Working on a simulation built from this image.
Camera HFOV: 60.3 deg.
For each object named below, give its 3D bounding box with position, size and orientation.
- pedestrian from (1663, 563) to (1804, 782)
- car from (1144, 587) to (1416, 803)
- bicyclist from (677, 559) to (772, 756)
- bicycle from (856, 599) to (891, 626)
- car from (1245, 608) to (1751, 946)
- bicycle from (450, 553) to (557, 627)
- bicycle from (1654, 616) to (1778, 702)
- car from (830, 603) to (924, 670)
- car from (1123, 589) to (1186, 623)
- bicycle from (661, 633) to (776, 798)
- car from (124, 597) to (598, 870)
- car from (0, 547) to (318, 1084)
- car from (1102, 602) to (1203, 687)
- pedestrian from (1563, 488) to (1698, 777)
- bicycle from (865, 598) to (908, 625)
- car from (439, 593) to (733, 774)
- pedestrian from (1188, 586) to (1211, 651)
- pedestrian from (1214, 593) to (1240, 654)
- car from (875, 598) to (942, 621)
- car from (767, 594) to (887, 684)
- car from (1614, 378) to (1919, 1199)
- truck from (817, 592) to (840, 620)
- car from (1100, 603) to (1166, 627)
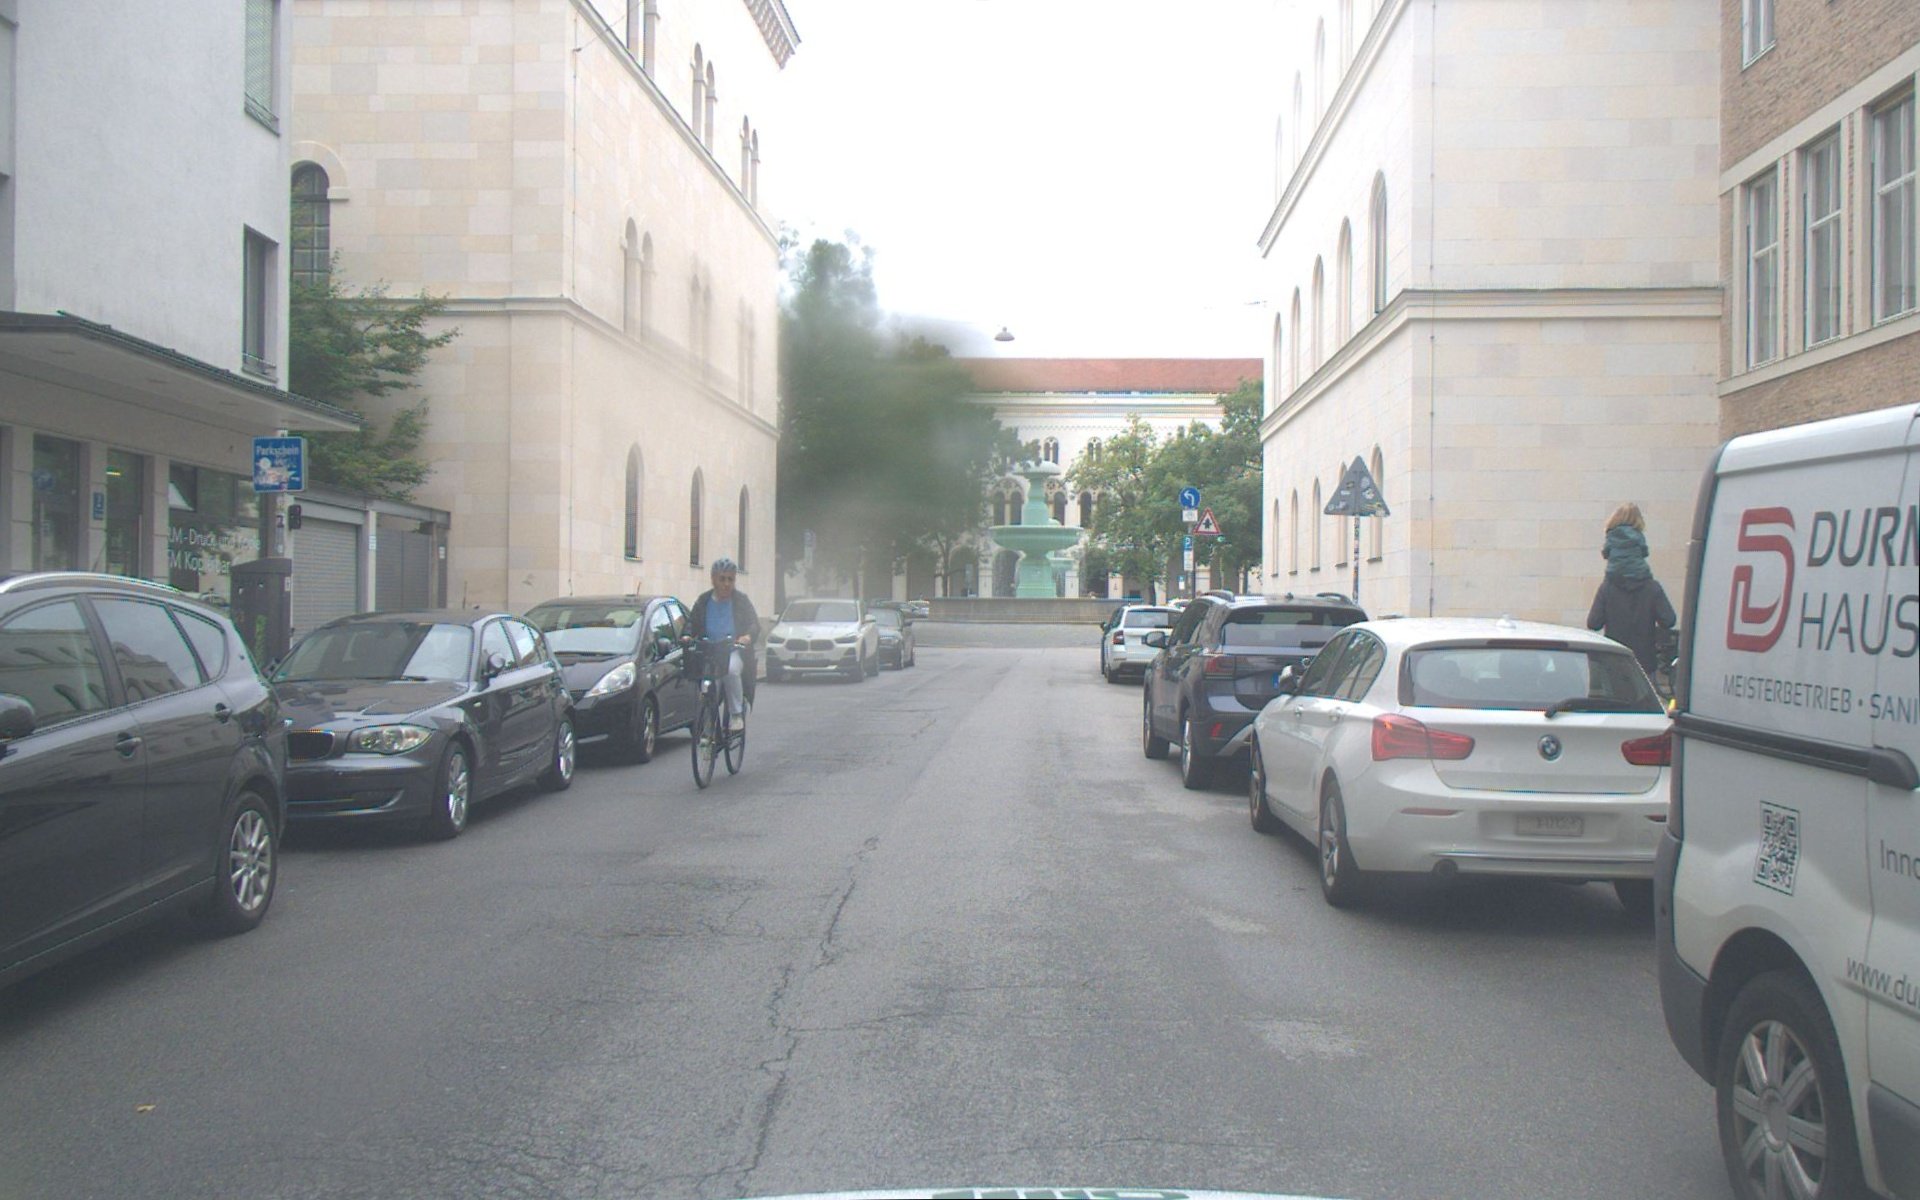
[{"bbox_3d":[6.313,0.566,13.537,0.839,1.722,0.752,1,1,9],"label":"pedestrian"},{"bbox_3d":[2.669,0.727,14.631,1.711,1.621,3.956,1,0,1],"label":"car"},{"bbox_3d":[-1.936,0.465,13.702,0.643,1.578,0.887,0,-1,1],"label":"bicyclist"},{"bbox_3d":[-3.784,0.543,72.021,1.371,1.118,0.657,1,0,15],"label":"bicycle"},{"bbox_3d":[2.756,0.796,9.466,1.638,1.442,4.202,1,0,2],"label":"car"},{"bbox_3d":[-7.538,-0.165,27.330,1.675,1.198,0.476,0,0,13],"label":"bicycle"},{"bbox_3d":[9.632,0.751,21.083,1.399,1.060,0.348,-1,0,2],"label":"bicycle"},{"bbox_3d":[-1.843,0.807,37.945,1.663,1.417,4.213,-1,-1,4],"label":"car"},{"bbox_3d":[12.234,0.382,104.179,3.902,2.049,2.001,1,0,6],"label":"car"},{"bbox_3d":[-1.956,0.900,13.625,0.635,1.218,1.950,0,0,1],"label":"bicycle"},{"bbox_3d":[-3.889,0.767,11.525,1.714,1.479,4.016,-1,1,1],"label":"car"},{"bbox_3d":[-3.973,0.688,5.915,1.834,1.687,4.078,-1,1,-2],"label":"car"},{"bbox_3d":[3.679,0.810,32.153,1.752,1.502,4.315,1,0,4],"label":"car"},{"bbox_3d":[5.367,0.246,13.279,0.776,2.236,0.814,1,0,5],"label":"pedestrian"},{"bbox_3d":[-3.108,0.471,70.094,1.673,1.118,0.699,1,0,15],"label":"bicycle"},{"bbox_3d":[-3.511,0.717,16.290,1.714,1.479,4.017,-1,1,4],"label":"car"},{"bbox_3d":[6.794,0.528,46.938,0.628,1.840,0.489,0,0,9],"label":"pedestrian"},{"bbox_3d":[7.604,0.672,47.149,0.608,1.711,0.545,1,0,-3],"label":"pedestrian"},{"bbox_3d":[-3.111,0.559,100.482,3.904,1.400,2.001,0,0,2],"label":"car"},{"bbox_3d":[-2.469,0.715,31.603,1.741,1.561,4.213,-1,-1,2],"label":"car"},{"bbox_3d":[2.798,0.551,2.342,1.843,1.958,4.875,0,0,0],"label":"car"},{"bbox_3d":[-12.385,0.551,155.926,1.956,2.532,3.994,1,0,-7],"label":"truck"},{"bbox_3d":[10.428,0.883,99.721,3.902,1.427,1.826,0,0,6],"label":"car"}]
